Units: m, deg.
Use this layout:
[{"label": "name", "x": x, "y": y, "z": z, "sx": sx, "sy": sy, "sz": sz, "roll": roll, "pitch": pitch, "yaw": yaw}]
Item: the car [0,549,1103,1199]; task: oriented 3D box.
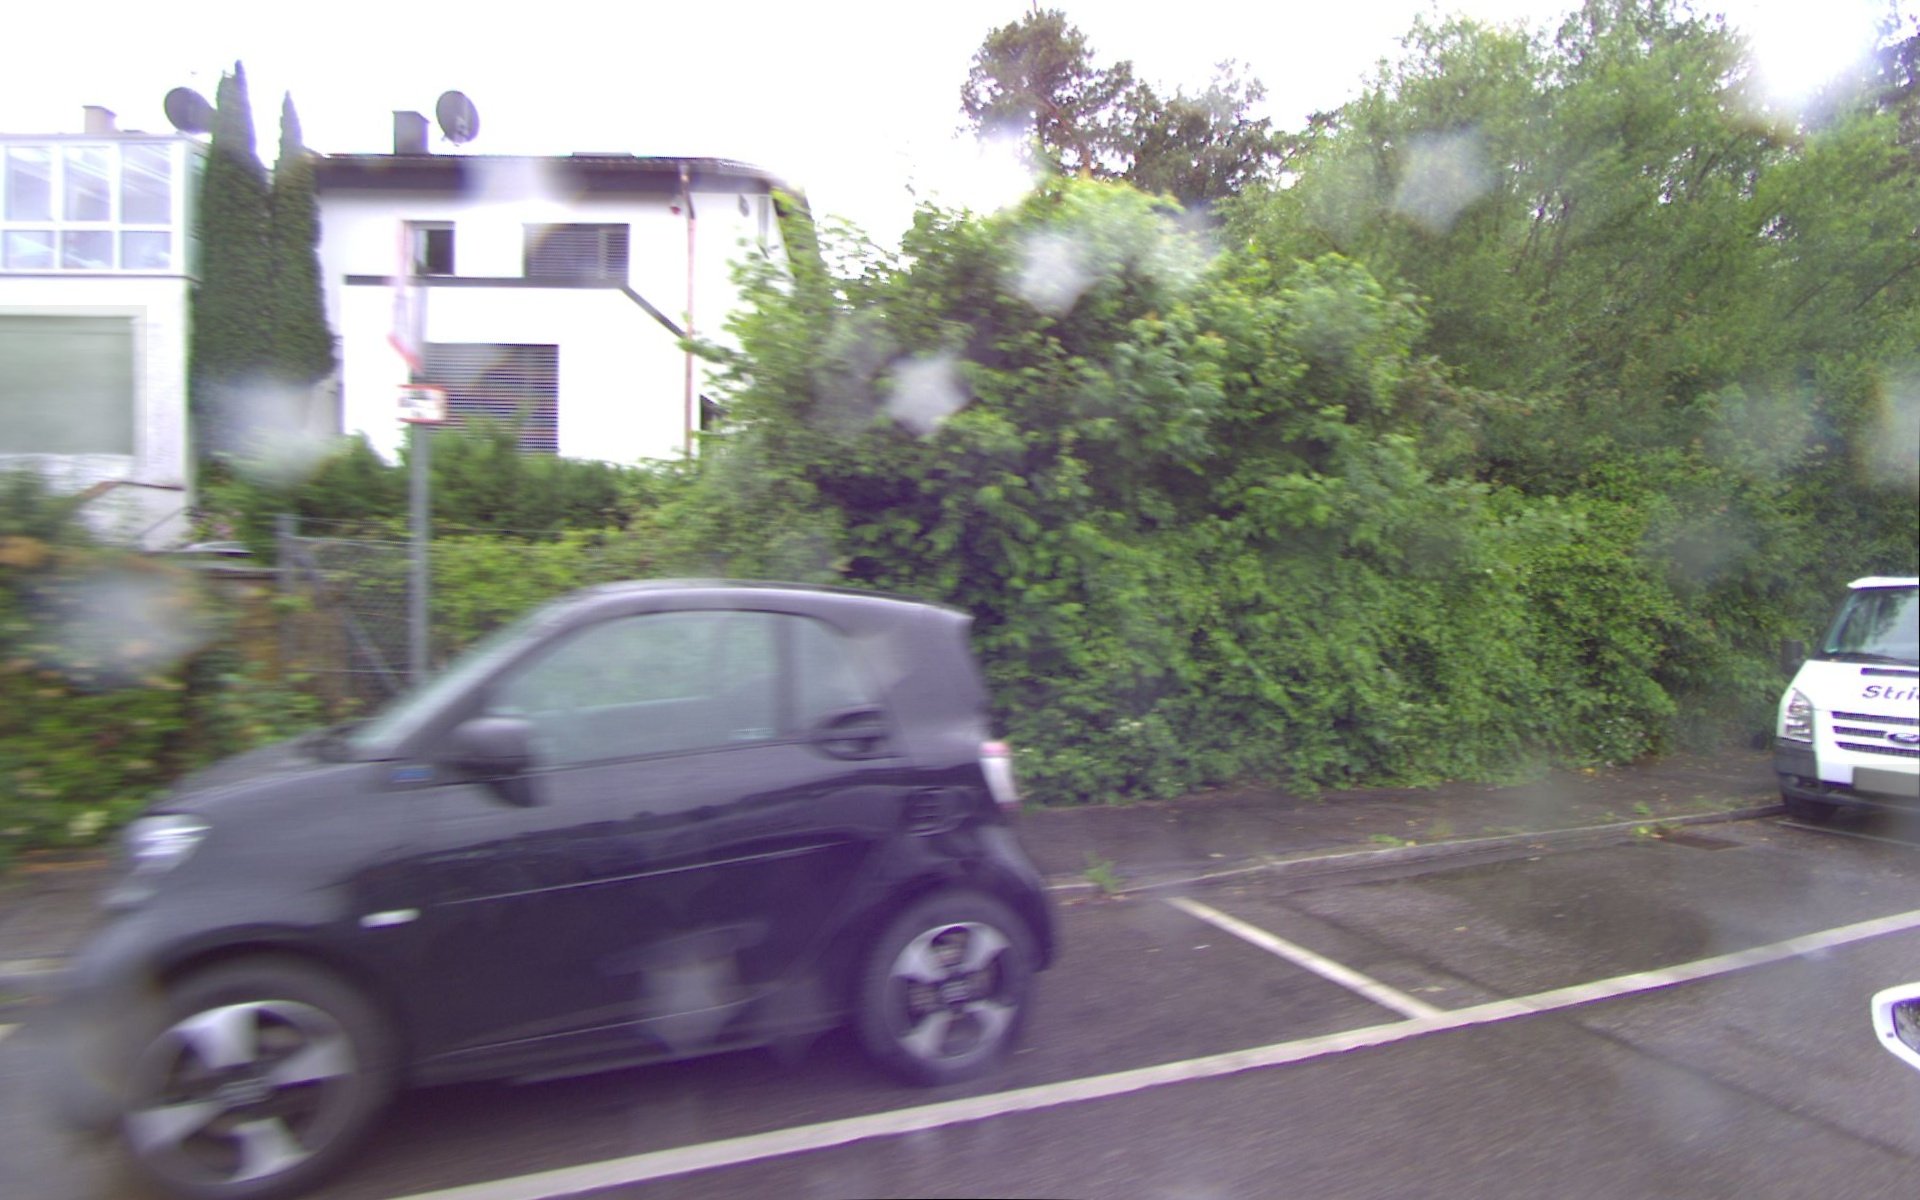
[{"label": "car", "x": -1.208, "y": 0.696, "z": 3.281, "sx": 2.901, "sy": 1.532, "sz": 1.598, "roll": 2, "pitch": -1, "yaw": -24}]

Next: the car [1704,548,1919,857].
[{"label": "car", "x": 8.354, "y": 0.733, "z": 7.945, "sx": 5.111, "sy": 2.001, "sz": 2.101, "roll": 2, "pitch": -1, "yaw": -30}]

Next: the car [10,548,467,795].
[{"label": "car", "x": -6.759, "y": 0.551, "z": 9.979, "sx": 1.704, "sy": 1.975, "sz": 3.685, "roll": 1, "pitch": 1, "yaw": 4}]
